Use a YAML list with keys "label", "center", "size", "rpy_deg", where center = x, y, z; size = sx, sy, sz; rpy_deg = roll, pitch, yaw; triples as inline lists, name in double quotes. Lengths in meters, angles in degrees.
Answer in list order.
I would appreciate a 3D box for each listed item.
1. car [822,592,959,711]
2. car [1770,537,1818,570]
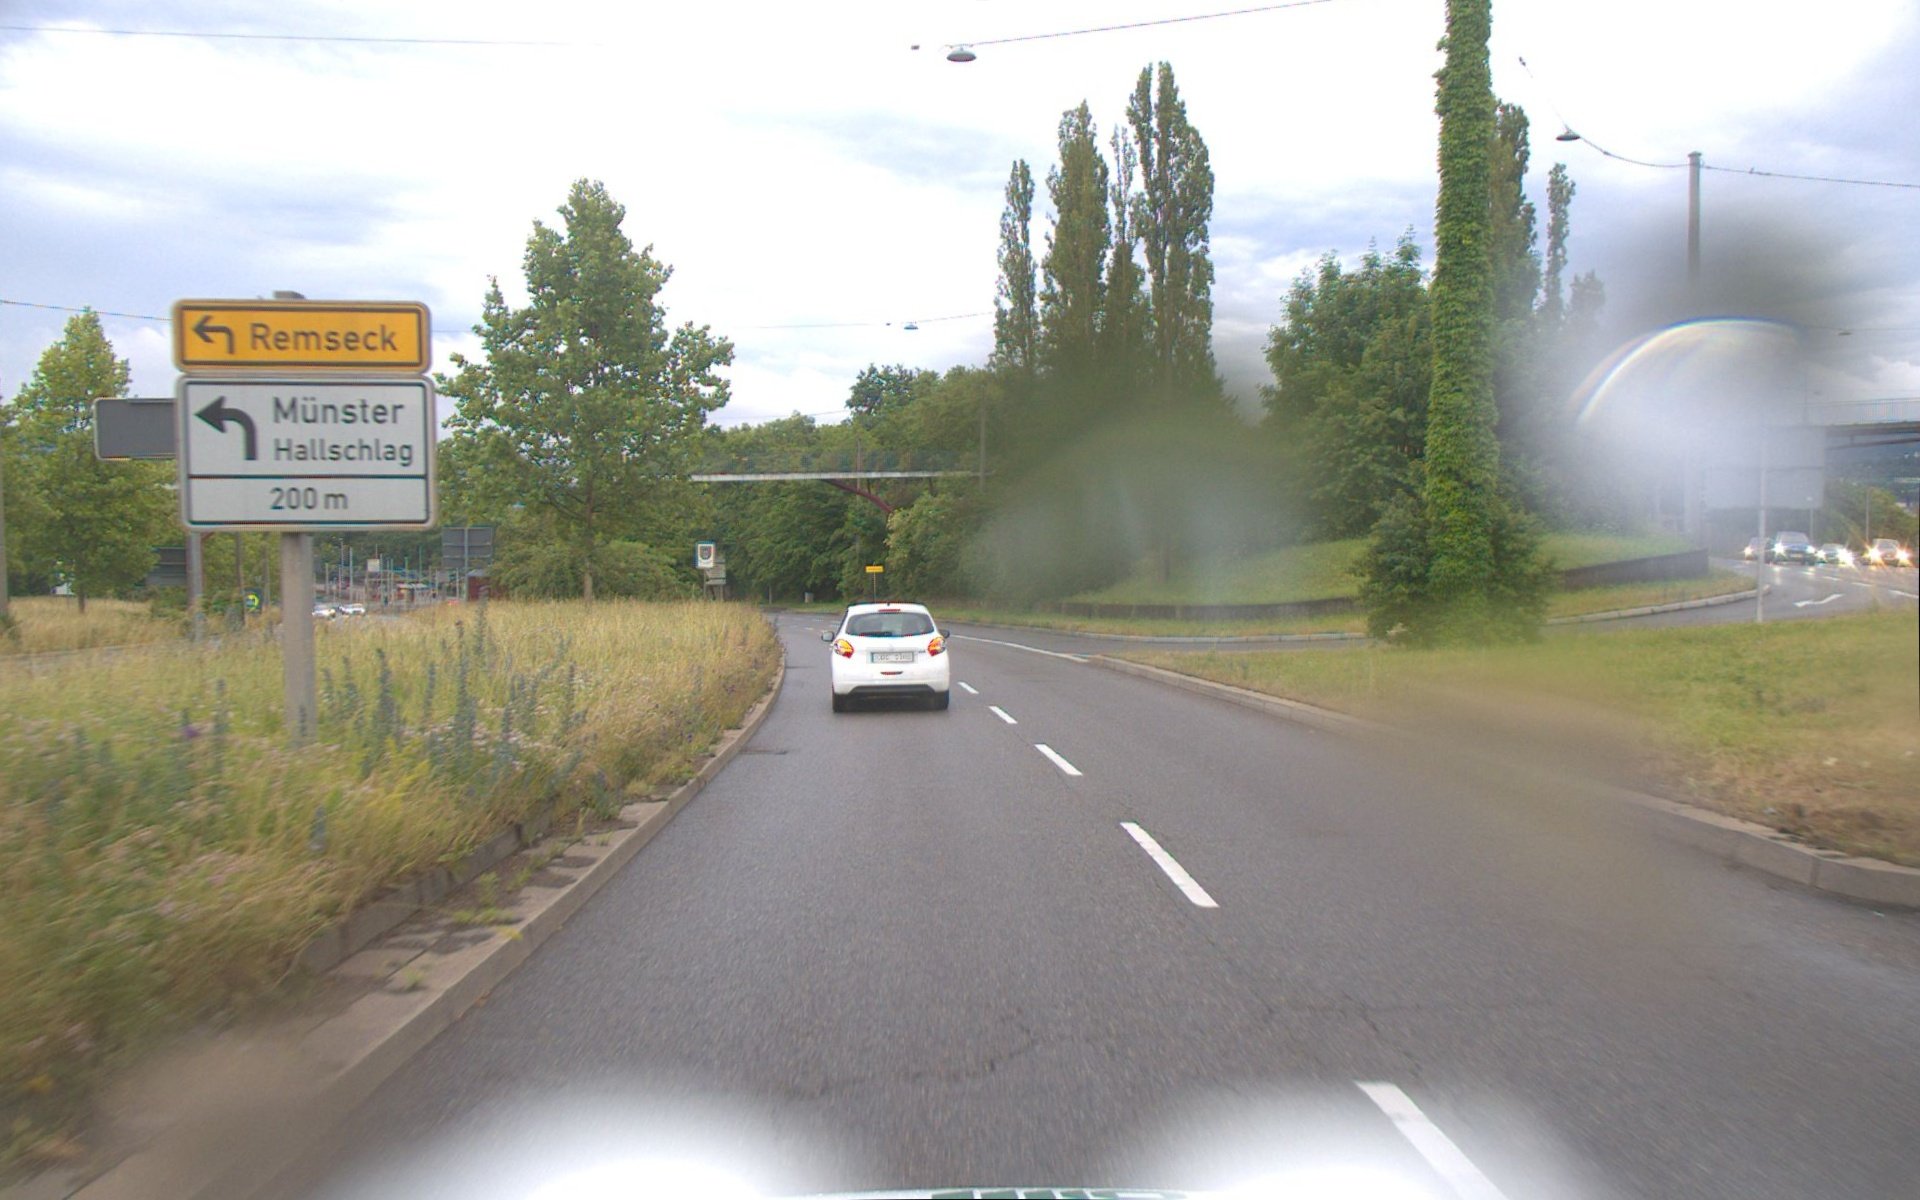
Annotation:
- label: "car"
  center: [-1.012, 0.685, 24.367]
  size: [1.831, 1.537, 3.898]
  rpy_deg: [-1, 1, -2]
- label: "car"
  center: [38.340, -2.121, 76.117]
  size: [1.636, 1.438, 3.918]
  rpy_deg: [-1, 0, 22]
